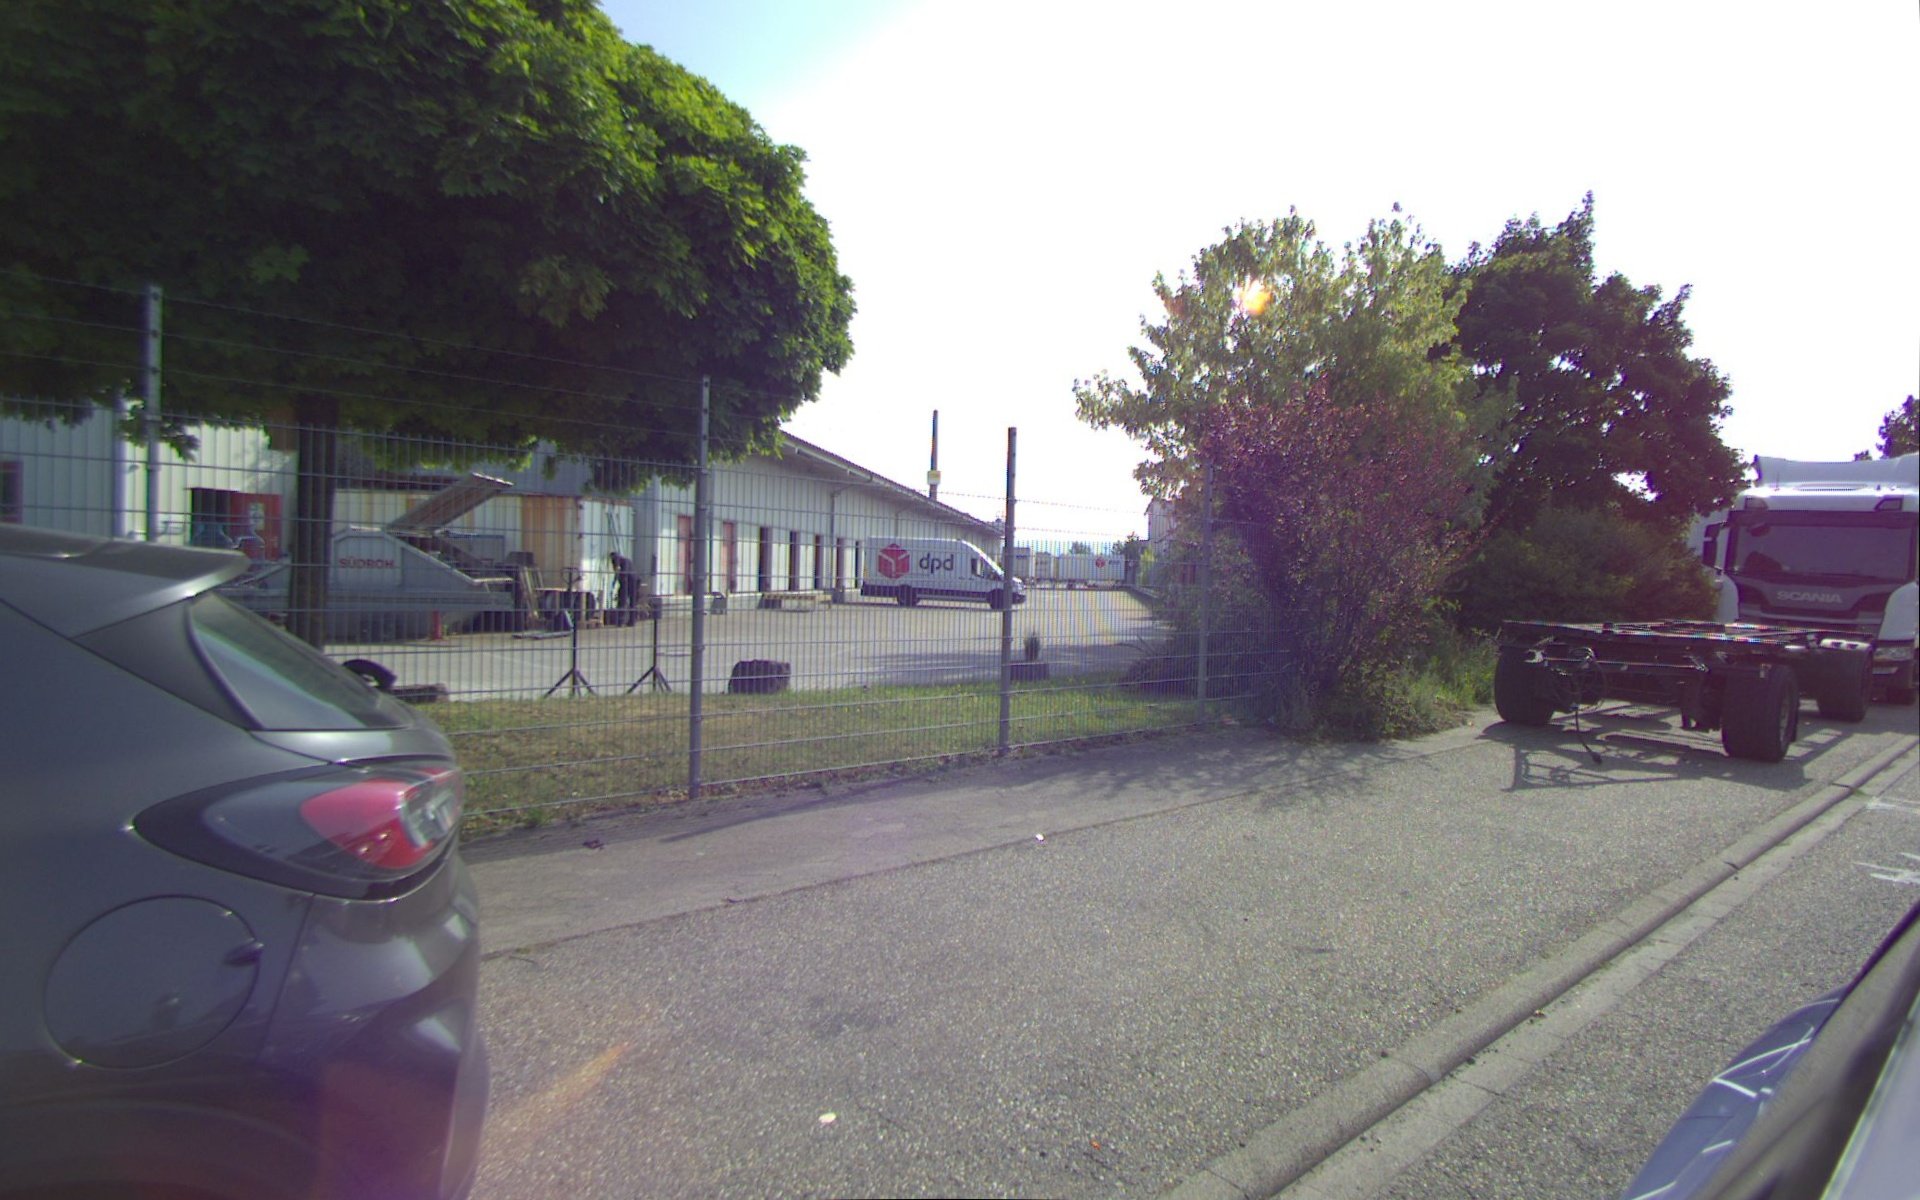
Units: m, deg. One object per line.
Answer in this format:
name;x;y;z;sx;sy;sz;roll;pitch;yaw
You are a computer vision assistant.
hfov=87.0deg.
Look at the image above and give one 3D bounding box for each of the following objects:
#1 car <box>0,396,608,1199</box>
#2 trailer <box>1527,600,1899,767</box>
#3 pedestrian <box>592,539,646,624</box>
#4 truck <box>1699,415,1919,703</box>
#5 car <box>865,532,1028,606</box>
car;-2.690;0.527;0.964;4.041;1.593;1.885;0;4;-41
trailer;8.891;0.703;11.524;7.322;1.250;1.942;0;4;-42
pedestrian;-7.184;-0.388;21.347;0.847;1.743;0.628;2;1;18
truck;14.861;-0.652;16.929;5.945;4.012;2.697;0;4;-43
car;-0.480;-1.228;40.134;6.170;2.681;2.208;2;1;9
